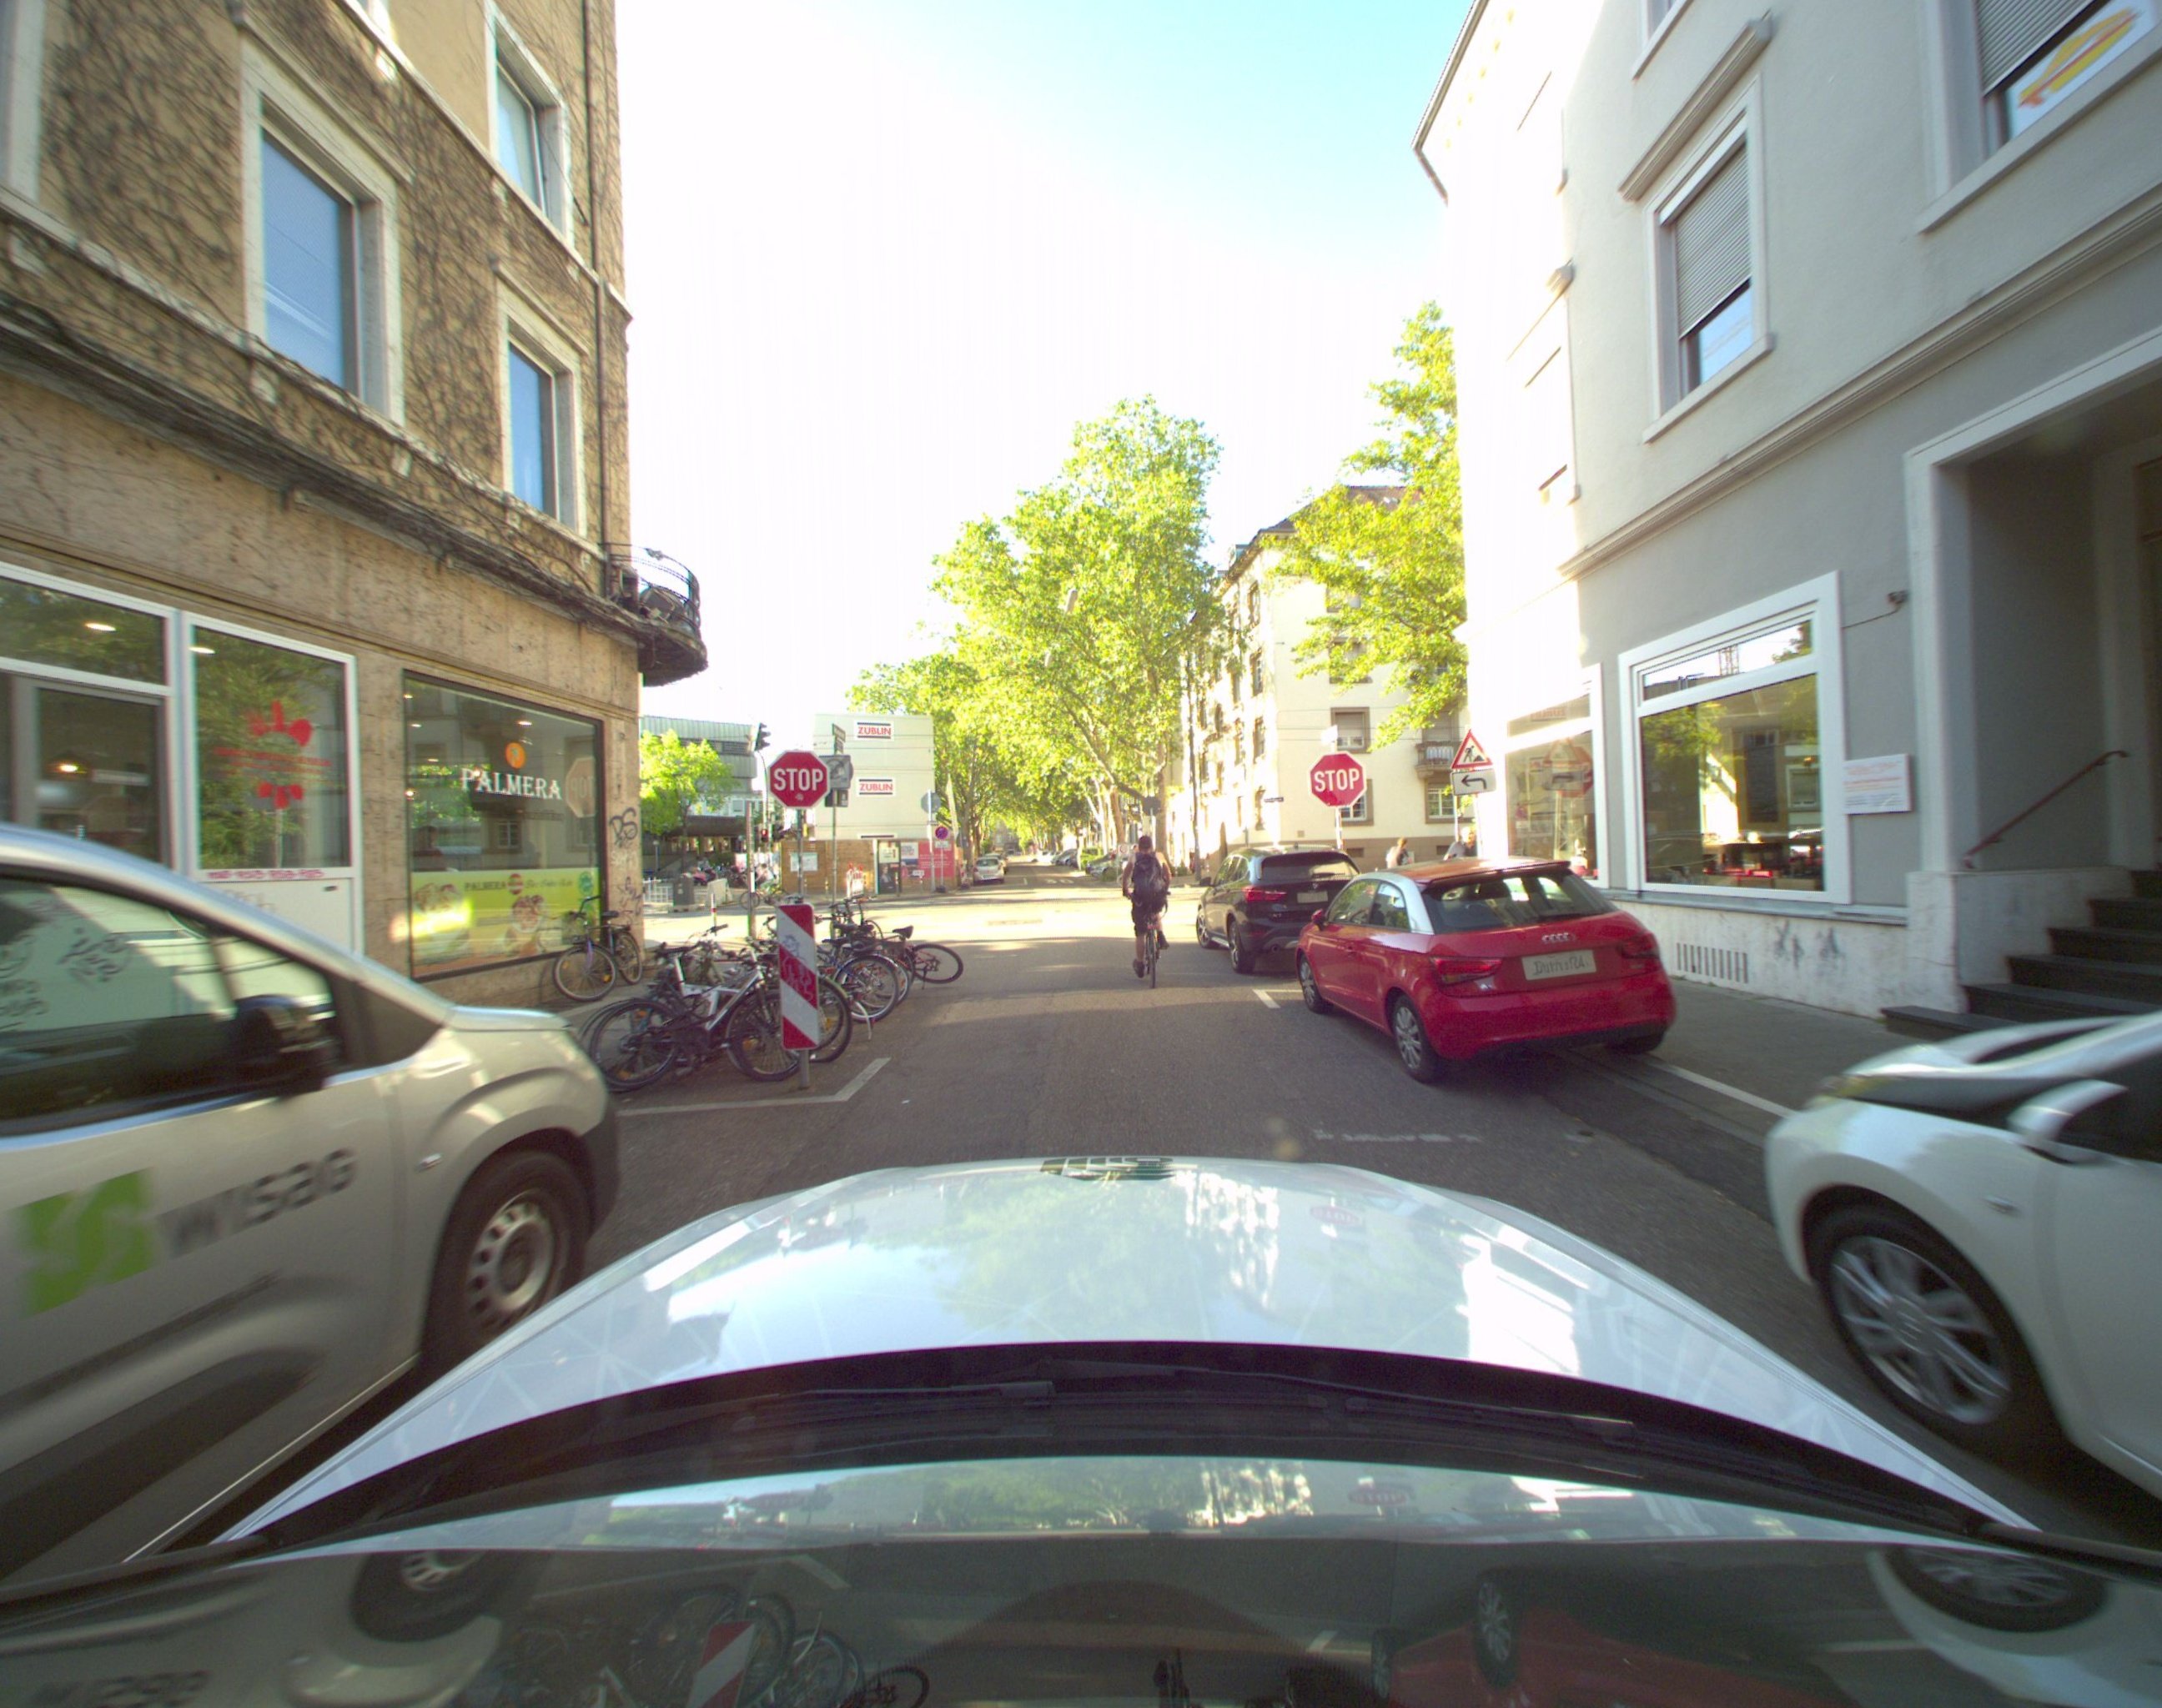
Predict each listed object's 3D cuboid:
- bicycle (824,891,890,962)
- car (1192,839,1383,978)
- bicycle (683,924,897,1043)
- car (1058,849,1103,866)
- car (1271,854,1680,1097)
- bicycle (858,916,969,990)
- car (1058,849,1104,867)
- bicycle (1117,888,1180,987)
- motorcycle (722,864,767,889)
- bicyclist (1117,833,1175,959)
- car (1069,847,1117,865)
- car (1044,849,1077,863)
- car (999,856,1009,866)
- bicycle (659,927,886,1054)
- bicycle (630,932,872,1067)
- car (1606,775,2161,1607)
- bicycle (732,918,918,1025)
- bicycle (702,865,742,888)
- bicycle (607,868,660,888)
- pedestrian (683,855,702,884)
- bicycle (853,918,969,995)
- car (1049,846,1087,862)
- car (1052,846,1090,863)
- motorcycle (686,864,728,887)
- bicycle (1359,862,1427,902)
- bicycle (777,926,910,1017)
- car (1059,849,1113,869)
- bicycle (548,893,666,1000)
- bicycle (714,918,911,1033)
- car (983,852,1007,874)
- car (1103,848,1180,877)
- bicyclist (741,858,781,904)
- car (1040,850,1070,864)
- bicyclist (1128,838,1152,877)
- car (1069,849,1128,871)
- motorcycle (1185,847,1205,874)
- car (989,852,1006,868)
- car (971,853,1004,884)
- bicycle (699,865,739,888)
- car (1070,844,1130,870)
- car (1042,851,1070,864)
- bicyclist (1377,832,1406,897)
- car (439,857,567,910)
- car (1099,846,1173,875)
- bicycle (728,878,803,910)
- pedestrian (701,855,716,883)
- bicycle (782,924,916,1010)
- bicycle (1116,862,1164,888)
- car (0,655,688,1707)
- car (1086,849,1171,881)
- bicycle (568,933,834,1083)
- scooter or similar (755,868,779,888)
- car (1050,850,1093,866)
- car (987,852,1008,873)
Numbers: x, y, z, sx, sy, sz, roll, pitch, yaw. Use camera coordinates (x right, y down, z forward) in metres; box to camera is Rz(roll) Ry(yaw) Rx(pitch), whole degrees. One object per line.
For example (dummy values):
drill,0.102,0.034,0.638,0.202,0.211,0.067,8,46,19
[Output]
bicycle,-3.914,1.223,14.150,0.460,1.045,1.668,-2,2,-39
car,2.780,0.653,11.939,1.754,1.662,4.197,0,0,0
bicycle,-2.637,1.170,7.459,1.759,0.961,0.443,-2,0,0
car,-0.083,0.397,84.077,4.457,1.571,1.724,-2,0,-7
car,2.930,0.755,7.063,1.640,1.503,3.954,0,0,0
bicycle,-2.073,1.222,10.166,1.308,0.818,0.370,-2,0,-9
car,0.002,0.383,81.603,4.457,1.571,1.724,-2,0,-7
bicycle,0.798,0.979,10.096,0.687,1.016,1.908,0,0,2
motorcycle,-18.484,1.230,44.813,2.224,1.257,0.536,-3,1,-43
bicyclist,0.795,0.507,10.123,0.673,1.513,0.669,0,0,1
car,1.137,0.182,78.504,4.457,1.571,1.724,-2,0,-7
car,-2.836,0.280,113.883,4.457,1.898,1.724,-2,0,-7
car,-13.573,1.218,143.952,1.664,1.562,4.209,-2,0,-7
bicycle,-2.640,1.163,7.048,1.759,0.961,0.422,-2,0,0
bicycle,-2.655,1.164,6.627,1.759,0.961,0.405,-2,0,0
car,2.869,0.637,1.301,1.631,1.587,3.788,0,0,0
bicycle,-2.640,1.205,8.504,1.762,0.961,0.427,-2,0,-6
bicycle,-21.220,1.311,48.113,2.062,1.257,0.536,-3,1,-43
bicycle,-29.606,1.579,53.891,3.066,1.147,0.822,-2,1,3
pedestrian,-27.675,1.098,57.974,0.796,2.013,0.940,-2,0,5
bicycle,-2.025,1.222,9.796,1.308,0.818,0.354,-2,0,-9
car,-1.650,0.007,100.983,4.457,1.898,1.724,-2,0,-7
car,-1.244,0.084,98.415,4.457,1.898,1.724,-2,0,-7
motorcycle,-22.594,1.274,49.219,2.224,1.257,0.536,-3,1,-43
bicycle,8.239,0.740,21.536,1.608,1.016,0.557,-1,-1,27
bicycle,-2.585,1.276,8.949,1.308,0.818,0.380,-4,0,-9
car,0.403,0.410,68.999,4.457,1.571,1.724,-2,0,-7
bicycle,-5.566,1.046,9.667,0.396,1.092,1.592,-2,-1,2
bicycle,-2.611,1.177,8.071,1.765,0.961,0.479,-2,0,-11
car,-6.504,0.630,61.279,1.664,1.562,3.990,-2,0,-7
car,3.712,0.497,50.168,4.457,1.571,1.724,-2,0,-7
bicyclist,-11.828,0.994,30.122,1.095,1.640,0.894,-2,-1,-5
car,-3.935,0.456,124.288,4.457,1.898,1.724,-2,0,-7
bicyclist,2.565,0.146,35.425,0.813,1.658,0.677,-2,0,-23
car,1.370,0.451,65.143,4.457,1.571,1.724,-2,0,-7
motorcycle,5.768,0.325,41.366,0.513,1.332,1.759,-2,0,-7
car,-8.600,0.597,83.596,1.664,1.562,4.605,-2,0,-7
car,-5.192,0.776,45.158,1.642,1.494,3.990,-4,0,-7
bicycle,-21.570,1.322,48.588,2.062,1.257,0.536,-3,1,-43
car,1.446,0.243,63.129,4.457,1.836,1.724,-2,0,-7
car,-4.147,0.572,133.144,4.457,1.898,1.724,-2,0,-7
bicyclist,8.214,0.282,21.553,0.645,1.687,0.547,-1,-1,26
car,-25.266,1.234,35.873,1.998,1.892,4.948,-1,2,0
car,3.520,0.434,52.243,4.457,1.671,1.724,-2,0,-7
bicycle,-11.657,1.467,30.138,2.418,1.093,0.894,-2,-1,-5
pedestrian,-26.902,1.074,58.781,0.805,2.013,1.021,-2,0,-29
bicycle,-2.633,1.281,9.331,1.386,0.818,0.361,-4,0,-9
bicycle,2.568,0.901,35.414,1.924,1.018,0.677,-2,0,-24
car,-2.647,0.677,1.191,1.673,1.910,4.521,-5,0,2
car,2.631,0.581,45.218,4.457,1.571,1.724,-2,0,-7
bicycle,-2.847,1.146,6.182,1.759,0.989,0.463,-2,0,0
scooter or similar,-17.038,1.305,44.216,0.381,1.020,1.493,-2,1,13
car,-1.042,0.436,88.763,4.457,1.571,1.724,-2,0,-7
car,-6.889,0.668,66.964,1.664,1.562,4.508,-2,0,-7
